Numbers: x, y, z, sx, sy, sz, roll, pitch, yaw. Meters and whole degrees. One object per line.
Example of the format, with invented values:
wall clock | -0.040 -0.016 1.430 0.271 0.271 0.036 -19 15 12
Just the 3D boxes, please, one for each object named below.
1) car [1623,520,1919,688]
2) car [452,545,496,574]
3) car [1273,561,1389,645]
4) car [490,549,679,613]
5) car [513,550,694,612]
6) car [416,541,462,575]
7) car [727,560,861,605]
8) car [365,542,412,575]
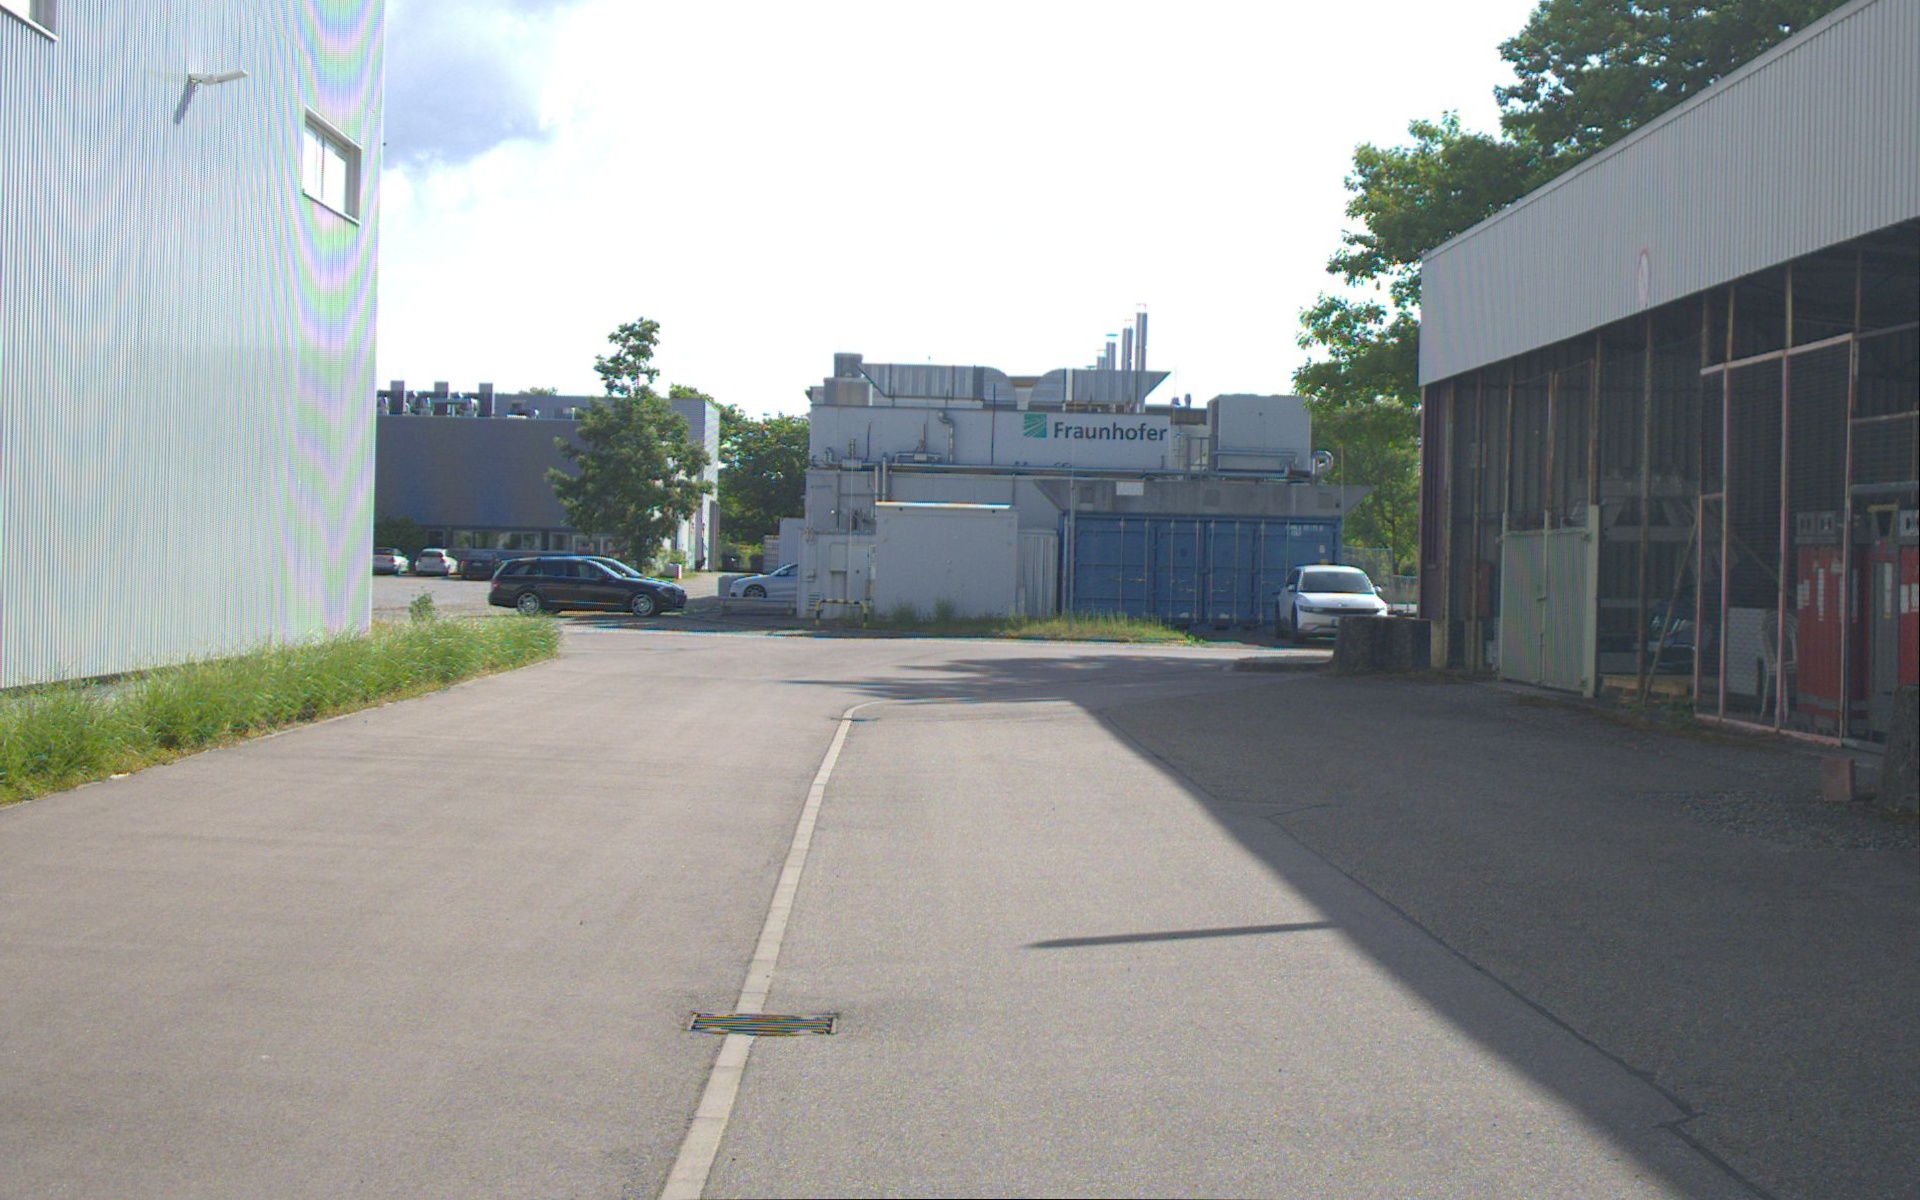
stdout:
car | 10.618 0.066 41.324 4.767 1.909 2.000 1 0 -9
car | -25.338 -2.090 179.305 1.858 1.489 4.030 0 0 -3
car | 7.705 0.033 71.764 1.979 1.597 4.377 0 2 1
car | -9.165 -0.469 84.091 4.447 1.526 1.824 0 0 -1
car | -9.083 -0.483 87.738 4.447 1.526 1.824 0 0 -1
car | -27.439 -2.204 181.123 1.965 1.706 4.030 0 0 -3
car | -5.381 -0.575 112.017 4.302 1.452 1.824 0 0 -1
car | -30.026 -2.182 180.675 1.976 1.672 4.000 0 0 -3
